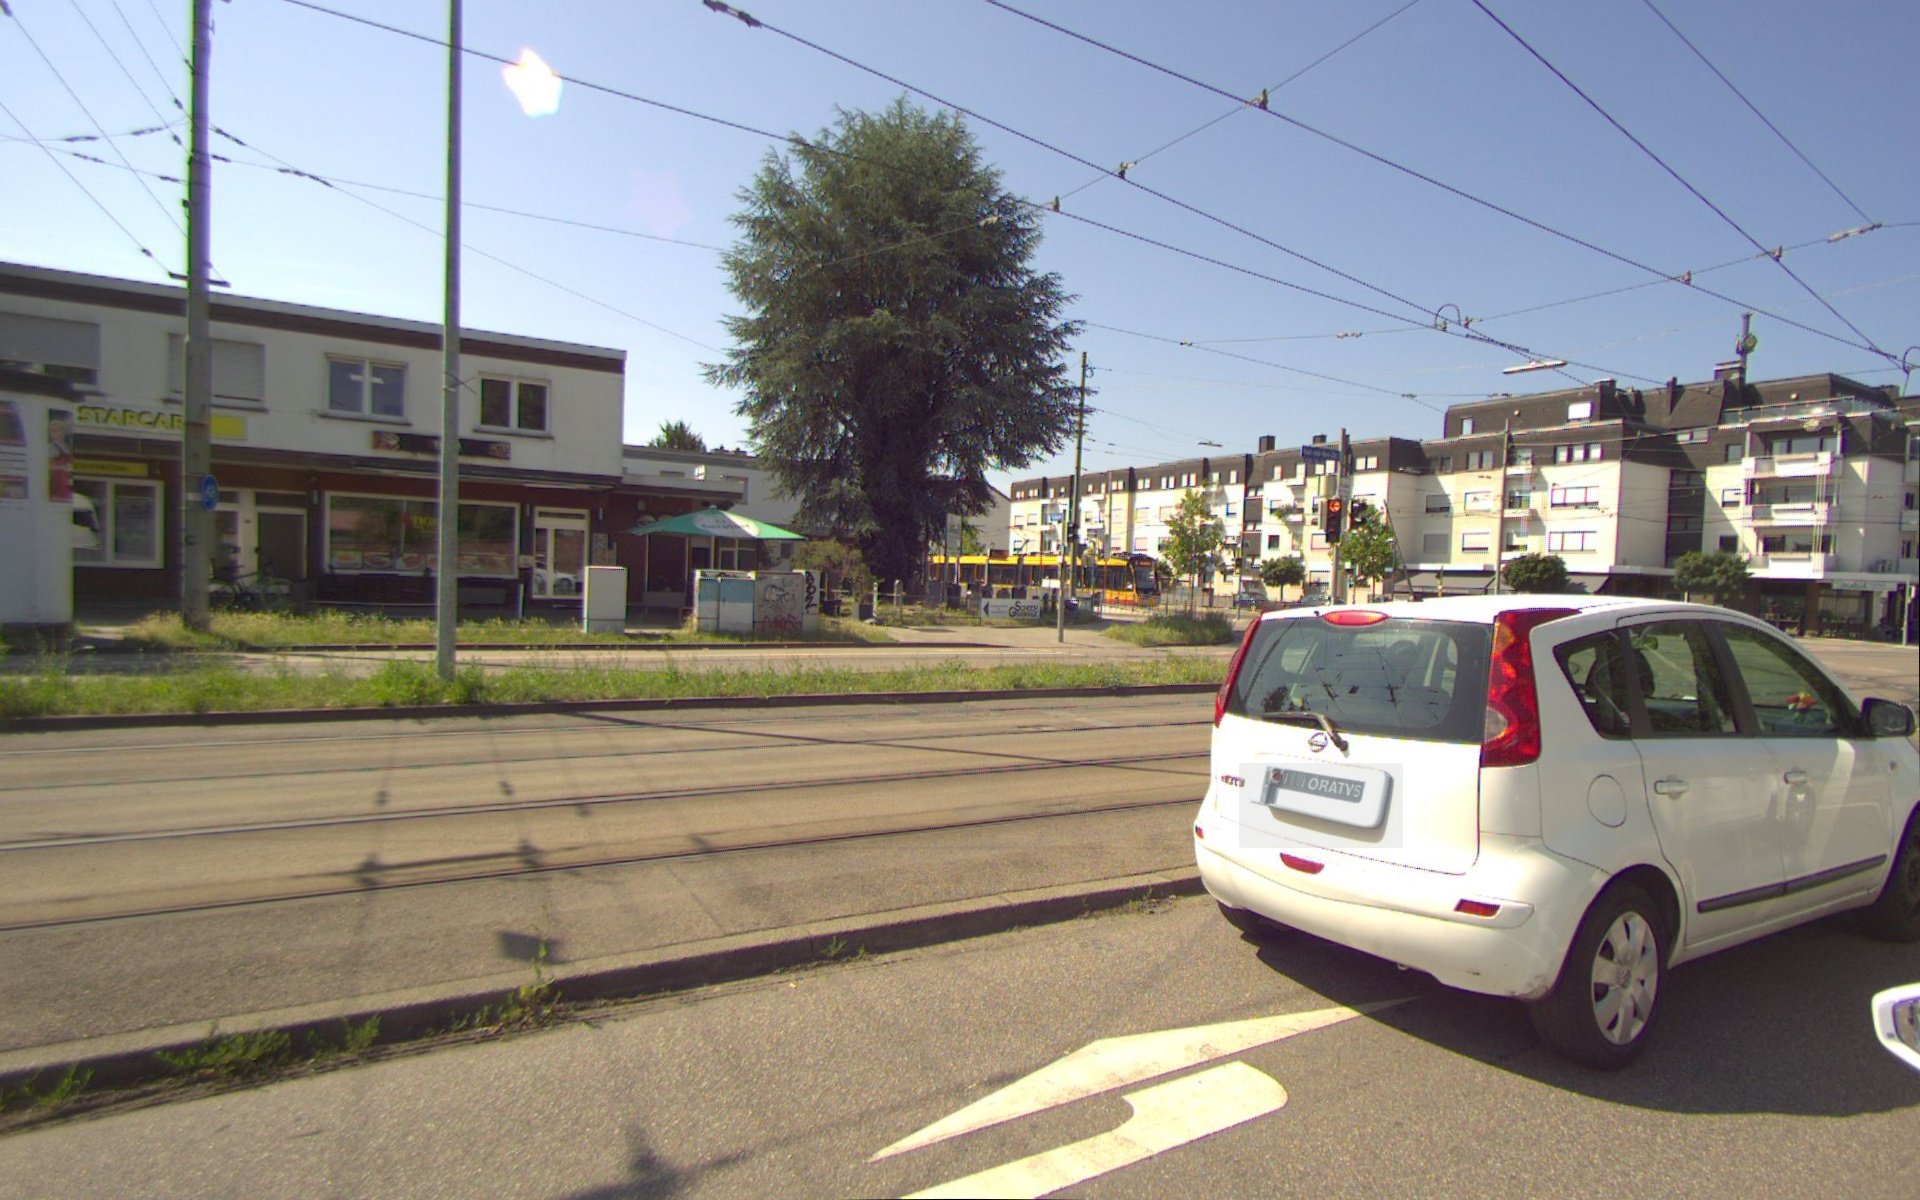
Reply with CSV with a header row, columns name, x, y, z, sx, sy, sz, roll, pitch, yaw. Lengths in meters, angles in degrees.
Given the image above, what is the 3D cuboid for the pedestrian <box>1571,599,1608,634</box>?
name,x,y,z,sx,sy,sz,roll,pitch,yaw
pedestrian,35.469,0.916,56.604,1.410,1.861,1.123,2,1,12

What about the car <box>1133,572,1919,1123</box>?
name,x,y,z,sx,sy,sz,roll,pitch,yaw
car,2.940,0.746,4.667,4.019,1.582,1.757,1,0,-30

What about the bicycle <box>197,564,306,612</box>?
name,x,y,z,sx,sy,sz,roll,pitch,yaw
bicycle,-15.671,-0.262,22.276,1.889,0.996,0.754,1,1,-30

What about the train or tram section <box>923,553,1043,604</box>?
name,x,y,z,sx,sy,sz,roll,pitch,yaw
train or tram section,1.474,-1.794,79.914,2.736,3.707,13.795,1,1,-30

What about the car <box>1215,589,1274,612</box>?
name,x,y,z,sx,sy,sz,roll,pitch,yaw
car,20.636,0.016,72.952,1.807,1.520,3.967,1,1,-30

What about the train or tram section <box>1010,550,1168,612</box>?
name,x,y,z,sx,sy,sz,roll,pitch,yaw
train or tram section,8.327,-1.391,67.920,2.736,3.707,13.795,1,1,-30

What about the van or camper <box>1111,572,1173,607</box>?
name,x,y,z,sx,sy,sz,roll,pitch,yaw
van or camper,14.962,-0.875,82.861,2.349,2.660,4.850,1,1,-31

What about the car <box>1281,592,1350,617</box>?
name,x,y,z,sx,sy,sz,roll,pitch,yaw
car,23.908,0.284,67.630,1.807,1.520,4.151,1,1,-30

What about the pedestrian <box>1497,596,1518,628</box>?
name,x,y,z,sx,sy,sz,roll,pitch,yaw
pedestrian,31.632,0.671,58.046,0.795,1.783,0.764,2,1,15
